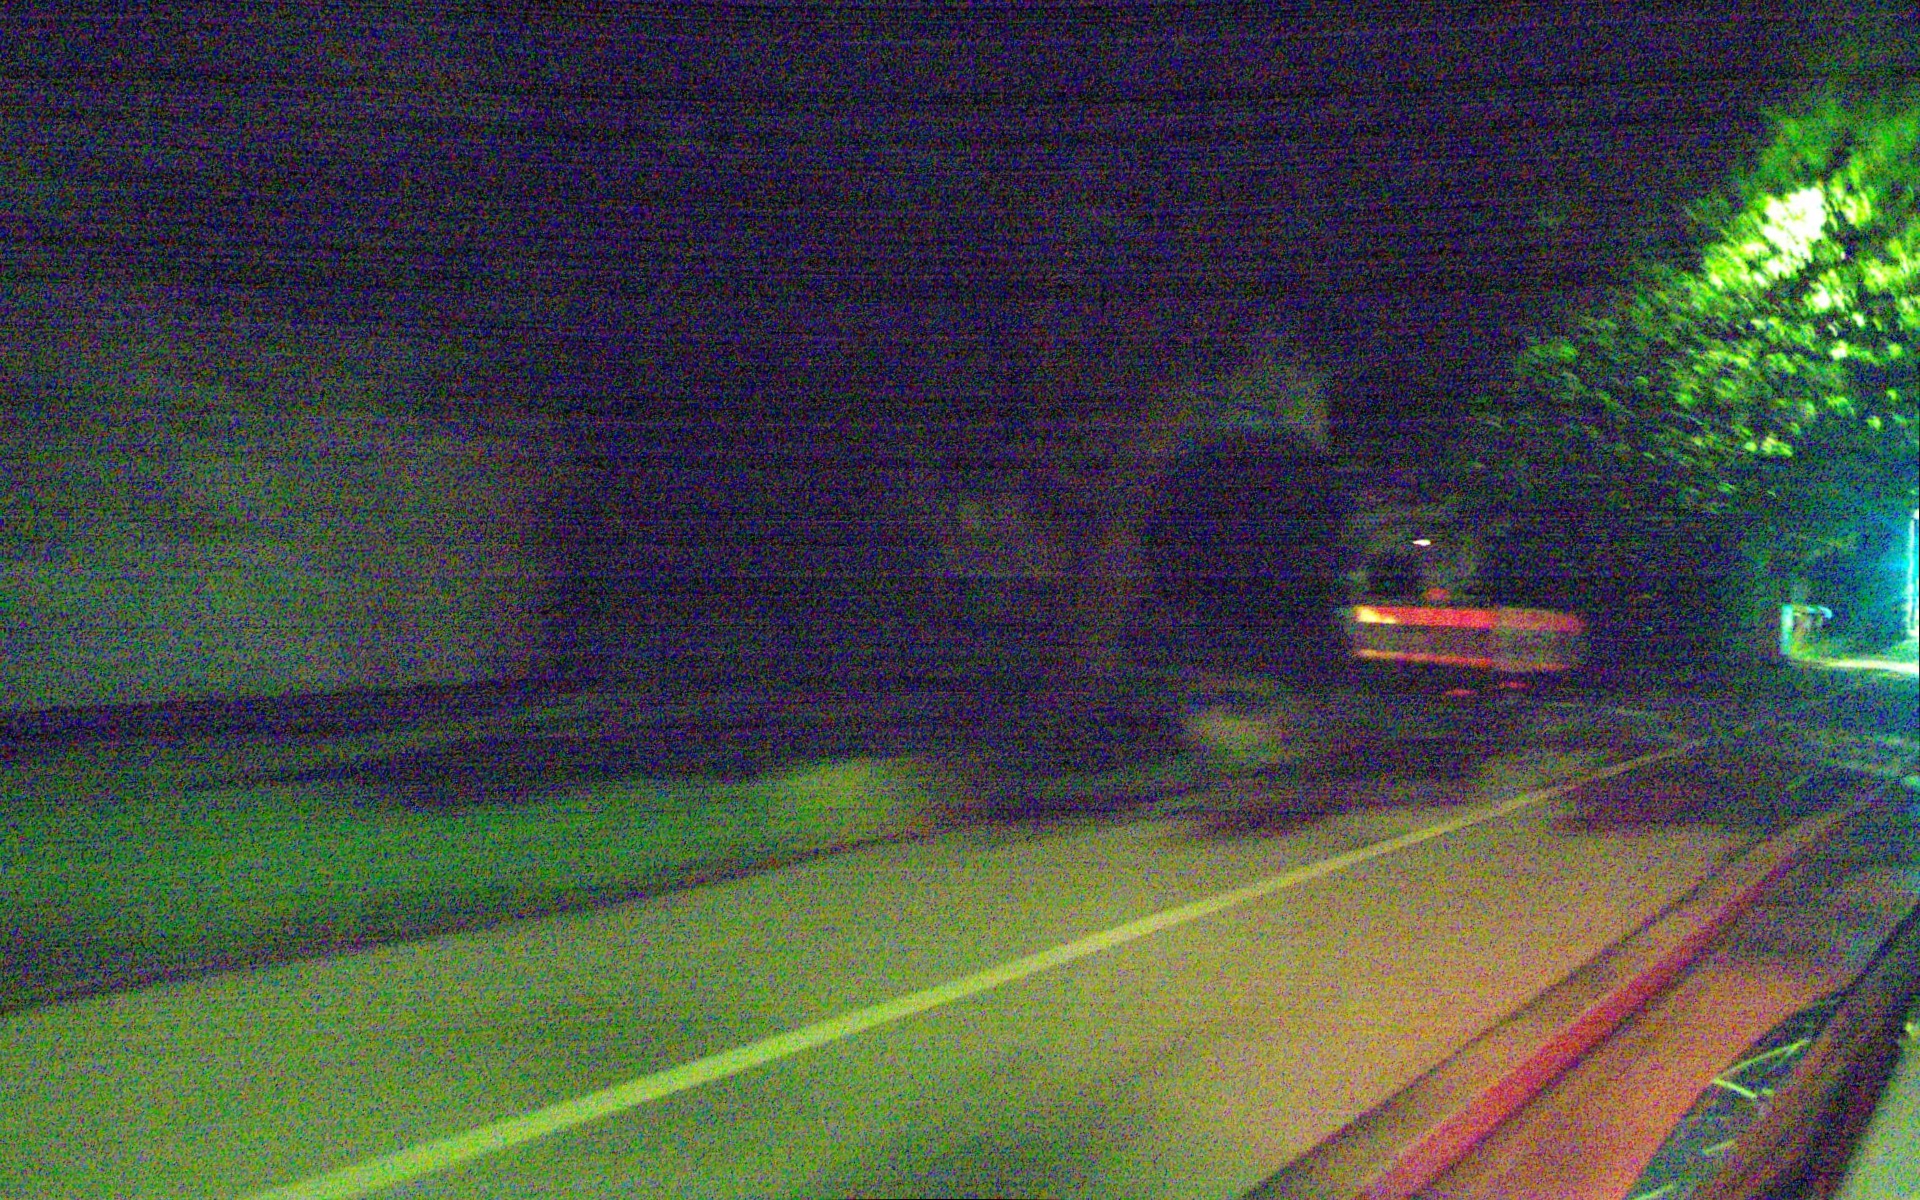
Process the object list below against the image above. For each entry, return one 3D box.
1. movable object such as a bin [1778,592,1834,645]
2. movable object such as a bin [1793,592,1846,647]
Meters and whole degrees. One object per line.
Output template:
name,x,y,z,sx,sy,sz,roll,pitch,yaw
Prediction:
movable object such as a bin,19.125,0.404,22.875,0.876,1.135,0.726,0,2,-34
movable object such as a bin,19.810,0.444,23.333,0.706,1.215,0.727,0,2,-34
